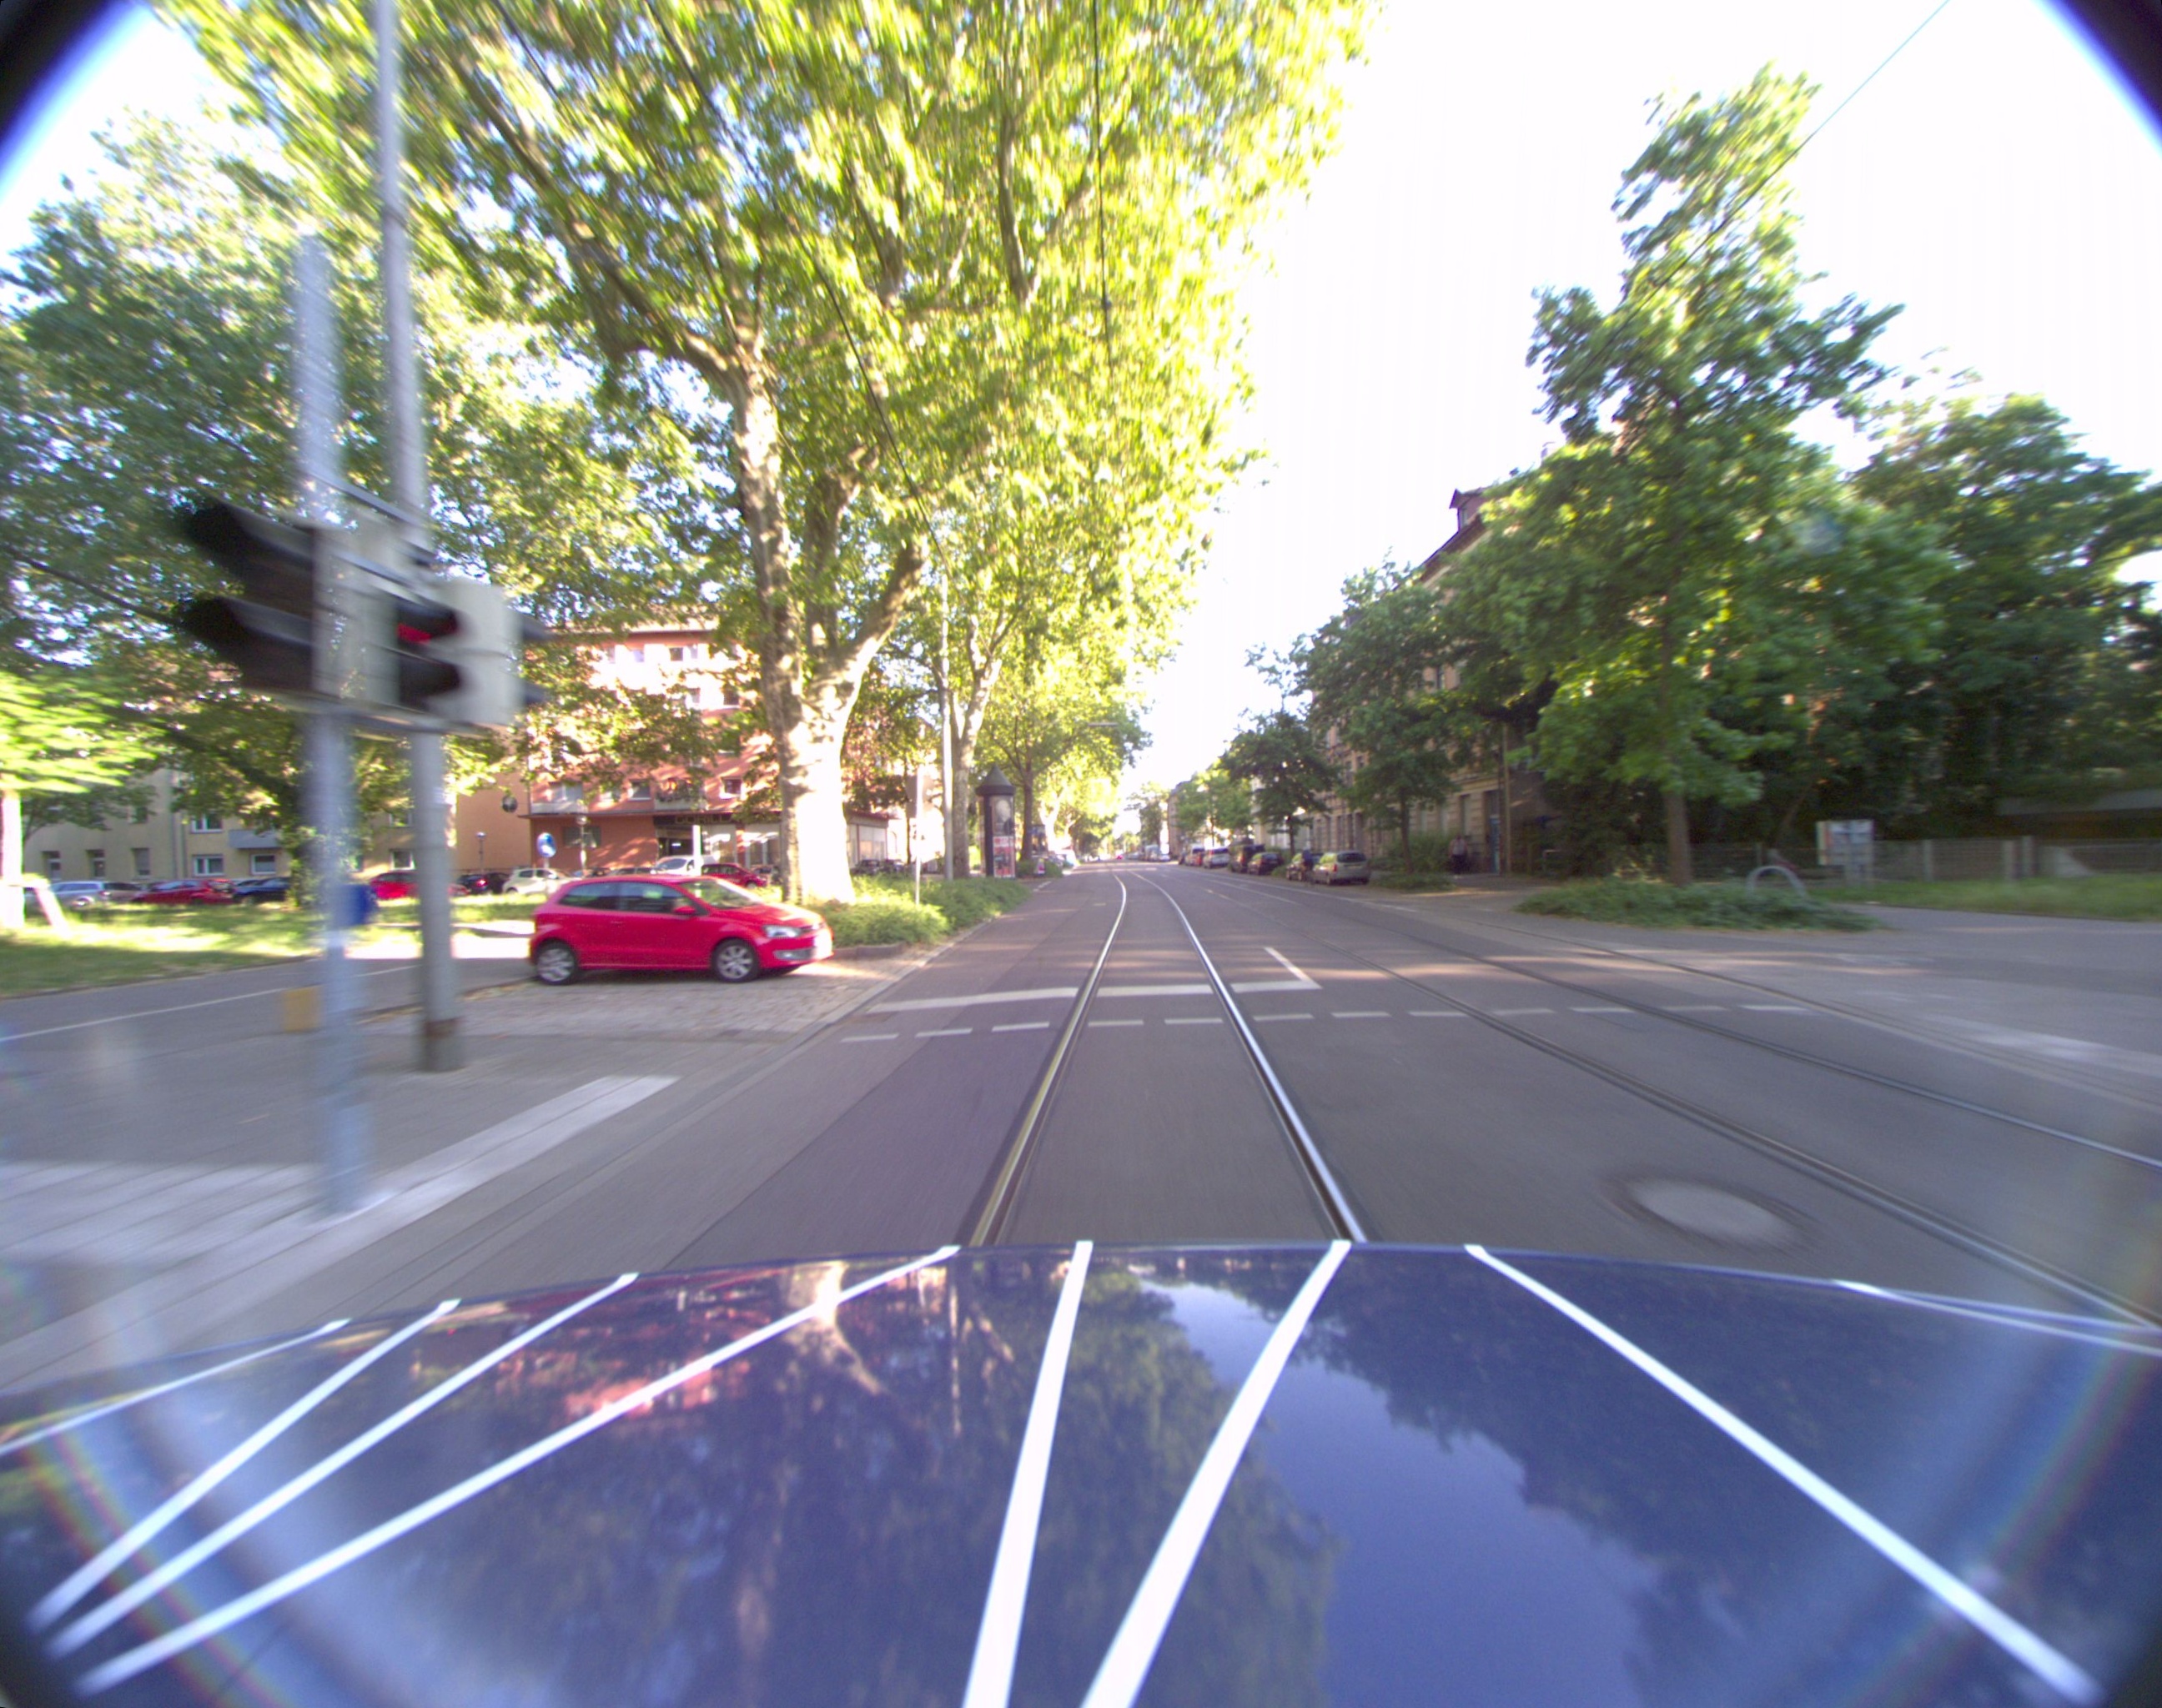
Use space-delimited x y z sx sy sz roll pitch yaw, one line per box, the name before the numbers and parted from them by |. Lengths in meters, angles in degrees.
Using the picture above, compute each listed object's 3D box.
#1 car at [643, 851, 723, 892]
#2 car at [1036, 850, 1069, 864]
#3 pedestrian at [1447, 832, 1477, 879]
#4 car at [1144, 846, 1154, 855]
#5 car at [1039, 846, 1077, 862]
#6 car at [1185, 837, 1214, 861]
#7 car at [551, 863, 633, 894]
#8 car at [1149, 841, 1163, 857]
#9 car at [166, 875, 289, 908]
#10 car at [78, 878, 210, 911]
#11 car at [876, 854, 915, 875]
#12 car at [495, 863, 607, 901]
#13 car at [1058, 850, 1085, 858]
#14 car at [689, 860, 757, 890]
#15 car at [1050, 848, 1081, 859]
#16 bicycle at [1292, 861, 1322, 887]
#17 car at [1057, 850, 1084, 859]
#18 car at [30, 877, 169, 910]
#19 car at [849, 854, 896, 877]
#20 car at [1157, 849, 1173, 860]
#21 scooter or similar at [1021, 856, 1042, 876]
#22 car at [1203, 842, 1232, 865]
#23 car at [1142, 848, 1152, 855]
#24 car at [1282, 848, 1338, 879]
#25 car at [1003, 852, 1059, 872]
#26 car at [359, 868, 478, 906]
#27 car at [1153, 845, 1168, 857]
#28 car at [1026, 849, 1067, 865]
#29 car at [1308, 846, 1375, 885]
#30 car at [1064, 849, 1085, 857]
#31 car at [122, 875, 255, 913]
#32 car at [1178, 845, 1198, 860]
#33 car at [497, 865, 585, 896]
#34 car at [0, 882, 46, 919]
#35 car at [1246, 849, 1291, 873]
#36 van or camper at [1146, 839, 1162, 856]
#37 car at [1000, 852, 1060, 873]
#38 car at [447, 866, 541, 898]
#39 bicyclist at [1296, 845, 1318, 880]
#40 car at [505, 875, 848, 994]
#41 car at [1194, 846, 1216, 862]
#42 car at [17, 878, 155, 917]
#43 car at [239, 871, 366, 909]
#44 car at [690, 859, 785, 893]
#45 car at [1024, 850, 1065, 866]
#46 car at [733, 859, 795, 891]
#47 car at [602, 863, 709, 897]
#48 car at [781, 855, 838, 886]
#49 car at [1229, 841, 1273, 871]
car | -22.354 0.914 42.911 1.917 2.171 5.083 -1 0 -2
car | -3.361 0.301 89.951 3.791 1.609 1.790 0 1 -1
pedestrian | 15.110 0.053 30.180 0.743 1.836 0.728 -3 1 0
car | 13.882 -0.701 155.357 1.791 1.744 4.435 -3 0 0
car | -2.999 0.006 98.634 4.859 2.002 2.194 0 1 -2
car | 12.930 -0.530 83.388 2.310 2.494 5.343 -2 0 0
car | -27.457 1.335 42.837 1.794 1.565 4.576 -1 0 -2
car | 13.474 -0.898 136.634 1.927 2.730 4.546 -6 0 2
car | -47.269 2.026 42.248 1.794 1.565 4.576 -1 0 -2
car | -52.056 2.197 42.378 1.794 1.565 4.576 -1 0 -2
car | -13.736 0.773 56.480 1.753 1.426 3.950 -1 0 2
car | -24.426 1.275 35.078 3.927 1.572 1.683 -1 1 -1
car | -1.708 -0.002 137.901 4.610 1.485 1.893 -1 0 4
car | -20.169 1.146 43.026 1.794 1.565 4.576 -1 0 -2
car | -2.497 -0.036 122.265 4.810 1.621 1.893 -1 0 1
bicycle | 9.329 0.816 31.405 0.642 0.981 2.101 0 0 1
car | -1.929 0.029 135.633 4.610 1.485 1.893 -1 0 4
car | -54.279 2.141 42.186 1.794 1.565 4.576 -1 0 -2
car | -13.774 0.733 50.510 1.753 1.426 4.468 -1 0 2
car | 13.232 0.069 120.013 1.776 1.484 4.940 -3 0 -1
scooter or similar | -3.062 0.736 46.756 1.211 1.233 0.569 -1 1 0
car | 12.245 -0.041 68.372 1.848 1.977 4.988 -2 0 2
car | 14.262 -0.636 165.399 1.791 1.462 4.435 -3 0 0
car | 11.553 0.446 38.614 1.662 1.437 3.949 -2 0 1
car | -4.118 0.628 62.942 4.413 1.534 1.952 -2 1 4
car | -30.317 1.480 34.851 3.927 1.572 1.683 -1 1 -1
car | 13.624 -0.524 130.621 1.927 2.034 4.941 -3 0 0
car | -3.765 0.368 83.327 4.209 1.609 1.818 -2 1 4
car | 11.422 0.451 33.641 1.703 1.541 4.537 -2 0 4
car | -1.475 -0.293 177.184 4.610 1.705 1.893 -1 0 4
car | -40.442 1.795 34.495 3.927 1.572 1.683 -1 1 -1
car | 13.022 -0.184 92.498 1.997 1.680 4.262 -2 0 4
car | -30.405 1.436 42.990 1.794 1.565 4.576 -1 0 -2
car | -50.109 2.130 34.462 3.927 1.572 1.683 -1 1 -1
car | 12.030 0.423 48.994 1.857 1.450 4.270 -1 0 0
van or camper | 13.772 -1.231 143.688 2.423 2.960 5.991 -5 0 2
car | -4.005 0.649 60.432 4.411 1.534 1.818 -2 1 8
car | -32.760 1.521 42.601 1.794 1.565 4.576 -1 0 -2
bicyclist | 9.335 0.337 31.387 0.642 1.447 0.837 0 1 1
car | -5.482 1.068 10.593 3.893 1.415 1.649 -1 1 4
car | 12.781 -0.018 78.631 1.689 1.530 3.707 -2 0 1
car | -44.816 1.945 34.292 3.927 1.572 1.683 -1 1 -1
car | -35.152 1.614 34.372 3.927 1.572 1.683 -1 1 -1
car | -15.707 0.989 34.820 3.547 1.444 1.683 -1 1 -1
car | -3.862 0.397 80.713 4.211 1.609 1.878 -2 1 -1
car | -17.518 1.127 42.229 1.794 1.565 4.576 -1 0 -4
car | -19.614 1.172 35.150 3.927 1.444 1.683 -1 1 -1
car | -15.285 0.895 42.993 1.794 1.565 4.576 -1 0 -4
car | 12.047 0.103 54.146 1.998 2.002 4.834 -1 0 0
